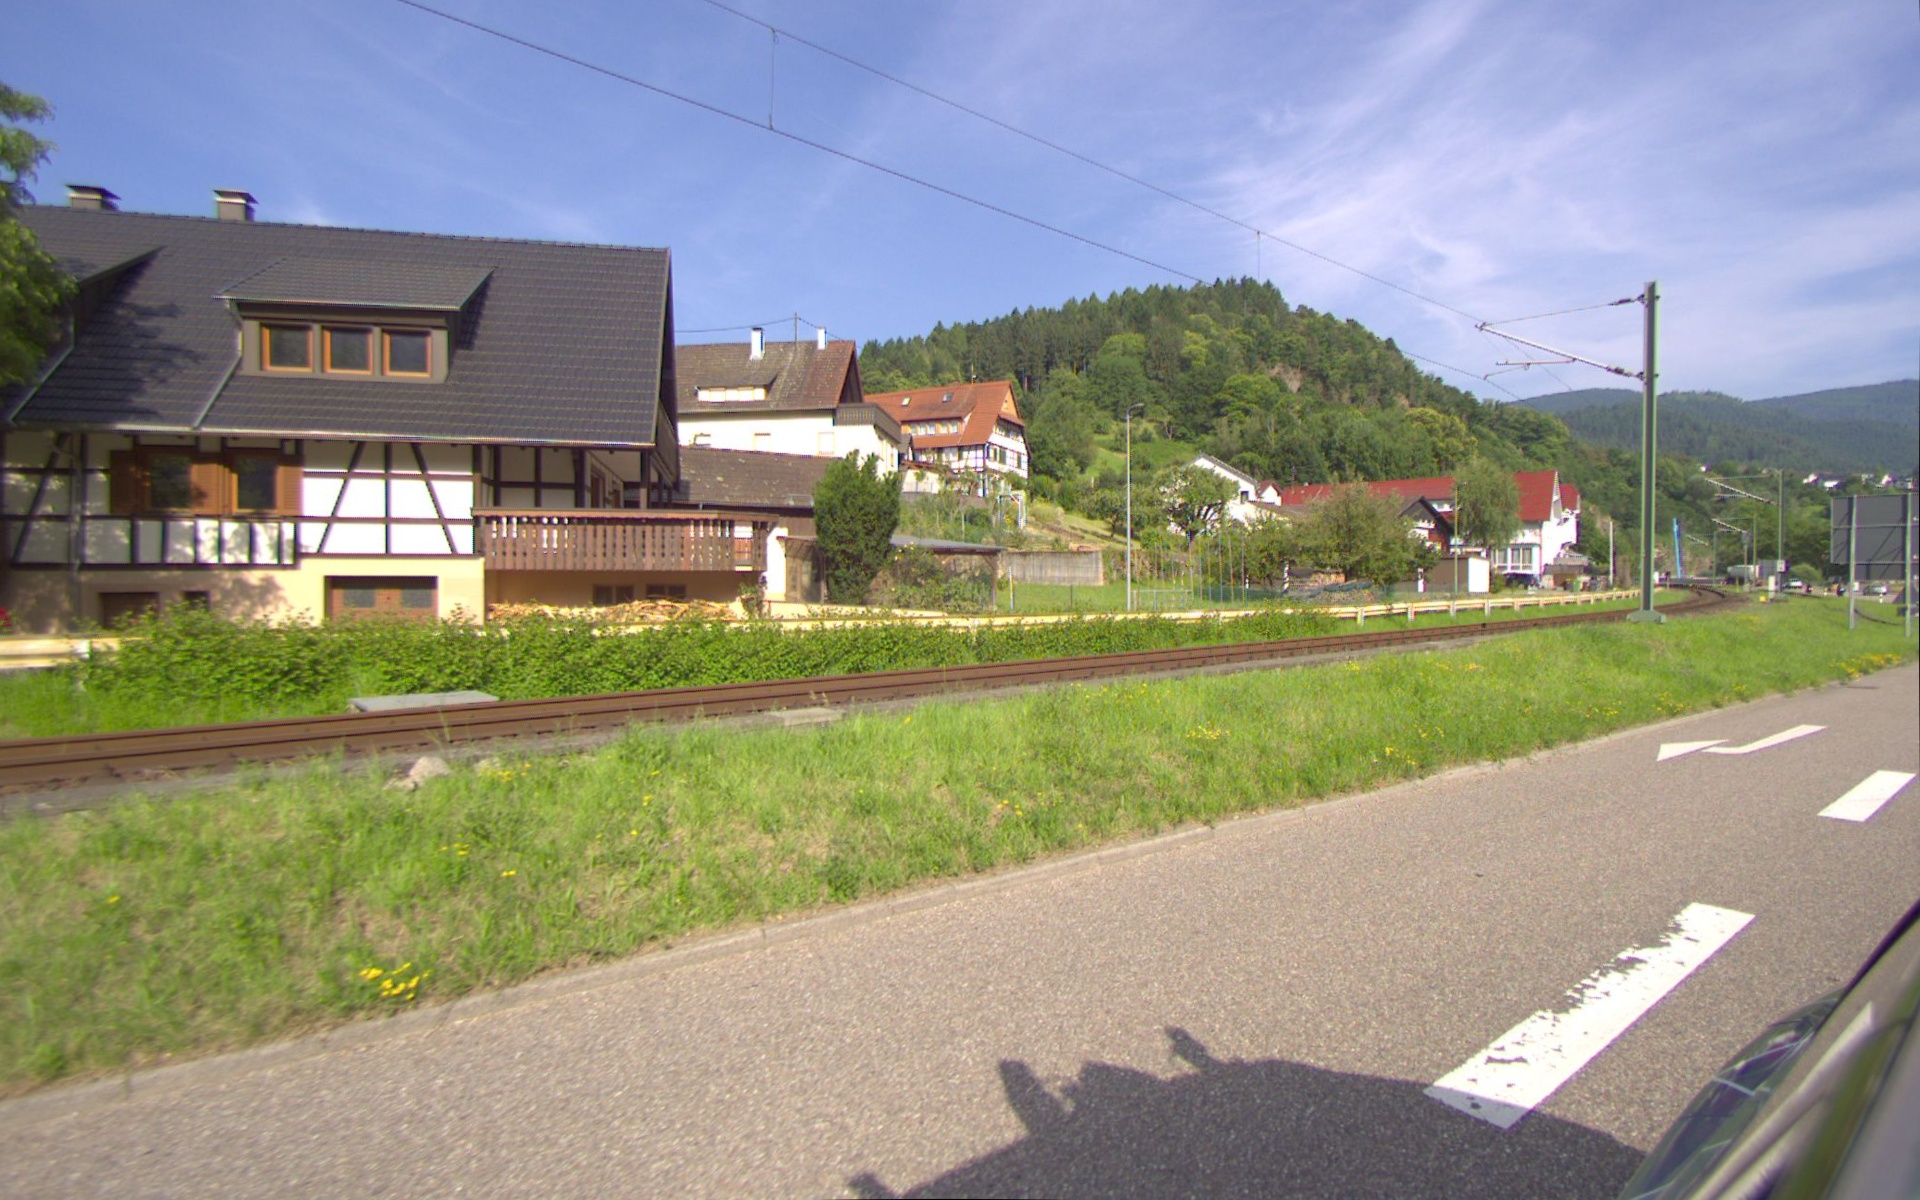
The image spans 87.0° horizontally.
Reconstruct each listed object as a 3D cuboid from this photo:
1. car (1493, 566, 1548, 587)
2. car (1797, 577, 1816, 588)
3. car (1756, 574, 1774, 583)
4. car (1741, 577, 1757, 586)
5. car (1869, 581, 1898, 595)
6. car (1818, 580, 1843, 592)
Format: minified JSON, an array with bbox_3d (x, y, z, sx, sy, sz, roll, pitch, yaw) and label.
[{"bbox_3d":[49.876,-2.089,90.110,3.988,1.794,1.801,0,1,45],"label":"car"},{"bbox_3d":[139.942,-2.871,167.357,1.710,1.683,3.957,0,1,30],"label":"car"},{"bbox_3d":[149.364,-3.953,187.800,1.982,1.683,3.960,0,1,29],"label":"car"},{"bbox_3d":[153.541,-3.604,196.913,1.878,1.683,3.960,0,1,29],"label":"car"},{"bbox_3d":[118.791,-1.566,130.254,1.853,1.683,3.960,0,1,29],"label":"car"},{"bbox_3d":[127.878,-2.045,148.710,1.981,1.683,3.961,0,1,28],"label":"car"}]
